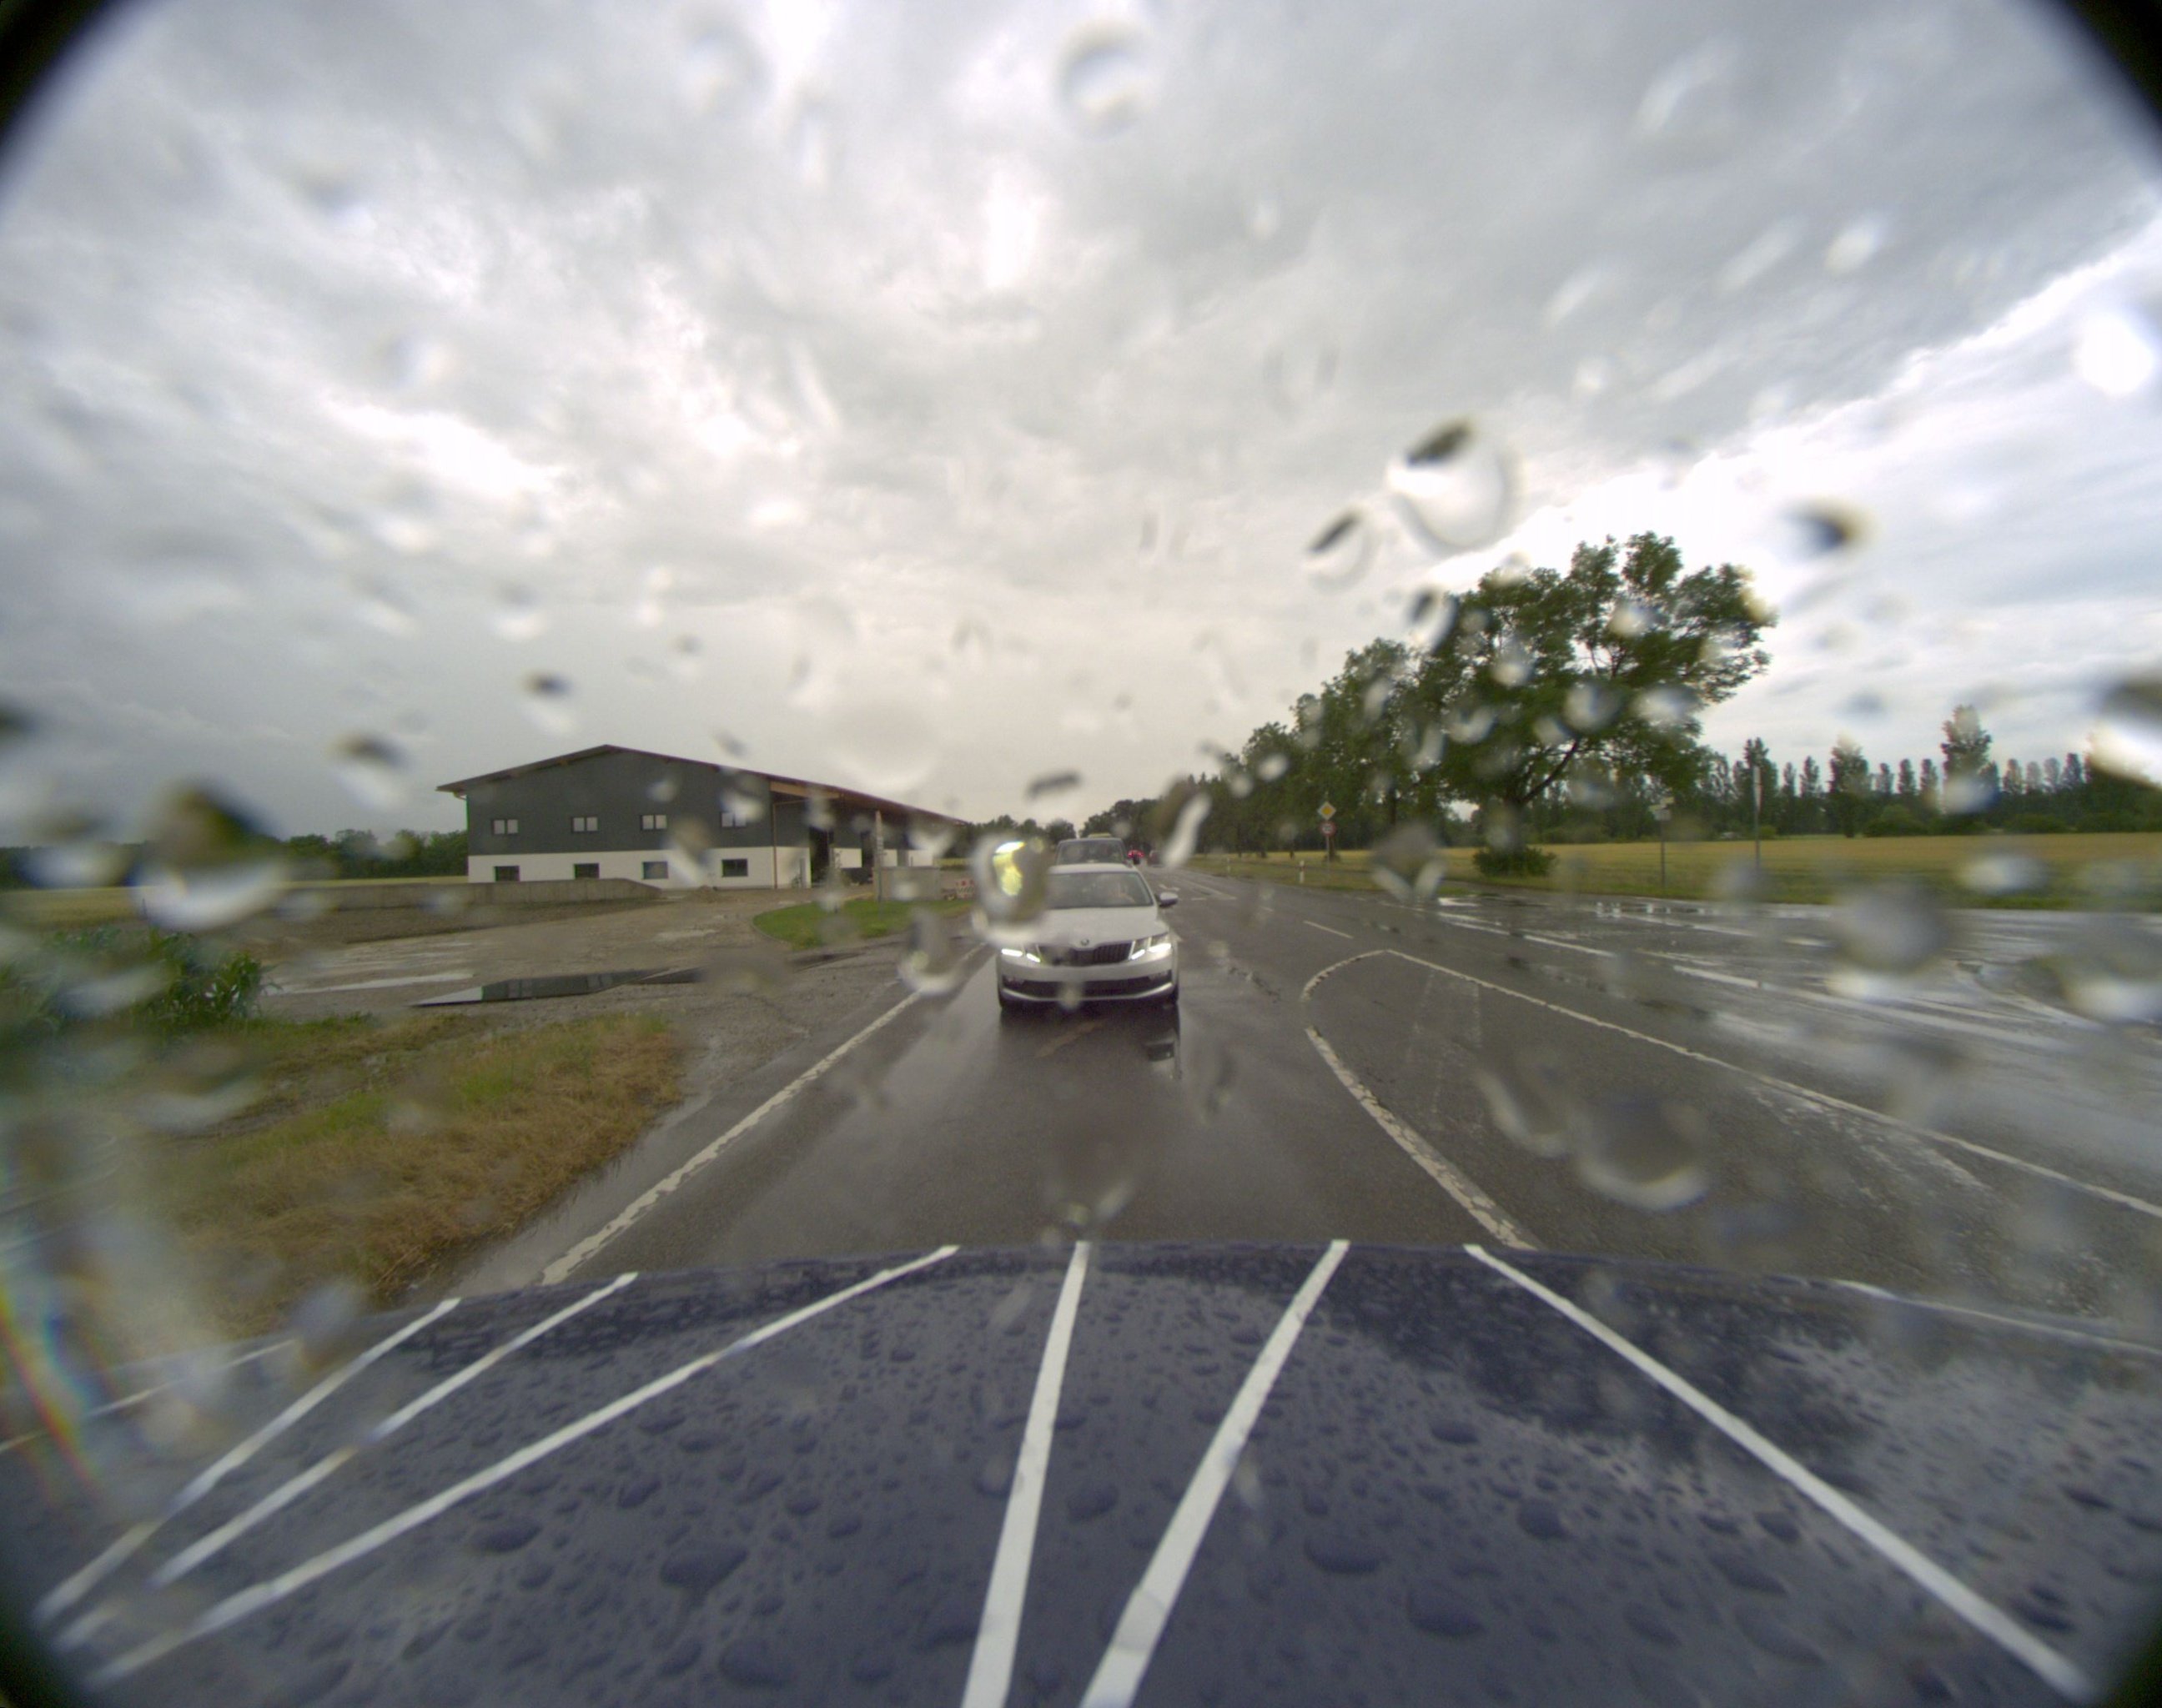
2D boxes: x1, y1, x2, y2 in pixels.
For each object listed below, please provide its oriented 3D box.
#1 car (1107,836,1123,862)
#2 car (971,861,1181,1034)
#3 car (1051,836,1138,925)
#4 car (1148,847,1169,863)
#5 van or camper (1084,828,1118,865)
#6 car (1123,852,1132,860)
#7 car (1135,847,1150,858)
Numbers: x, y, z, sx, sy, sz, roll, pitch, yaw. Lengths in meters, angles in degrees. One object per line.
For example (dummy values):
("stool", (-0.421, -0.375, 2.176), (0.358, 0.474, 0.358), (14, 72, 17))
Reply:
("car", (4.095, -0.618, 92.717), (1.771, 3.134, 4.028), (-2, 1, 1))
("car", (0.030, 0.831, 8.842), (1.770, 1.365, 4.576), (-2, 1, 2))
("car", (0.377, 0.565, 18.955), (1.840, 1.888, 4.576), (-2, 1, 2))
("car", (7.726, 0.099, 75.947), (1.773, 1.514, 4.141), (0, 0, 2))
("van or camper", (2.158, -0.840, 81.048), (3.342, 3.624, 8.373), (-2, 1, 2))
("car", (8.747, 0.422, 143.721), (1.716, 1.397, 3.814), (-1, 0, 3))
("car", (9.258, -0.216, 114.879), (1.948, 1.571, 4.443), (-2, 0, 1))
